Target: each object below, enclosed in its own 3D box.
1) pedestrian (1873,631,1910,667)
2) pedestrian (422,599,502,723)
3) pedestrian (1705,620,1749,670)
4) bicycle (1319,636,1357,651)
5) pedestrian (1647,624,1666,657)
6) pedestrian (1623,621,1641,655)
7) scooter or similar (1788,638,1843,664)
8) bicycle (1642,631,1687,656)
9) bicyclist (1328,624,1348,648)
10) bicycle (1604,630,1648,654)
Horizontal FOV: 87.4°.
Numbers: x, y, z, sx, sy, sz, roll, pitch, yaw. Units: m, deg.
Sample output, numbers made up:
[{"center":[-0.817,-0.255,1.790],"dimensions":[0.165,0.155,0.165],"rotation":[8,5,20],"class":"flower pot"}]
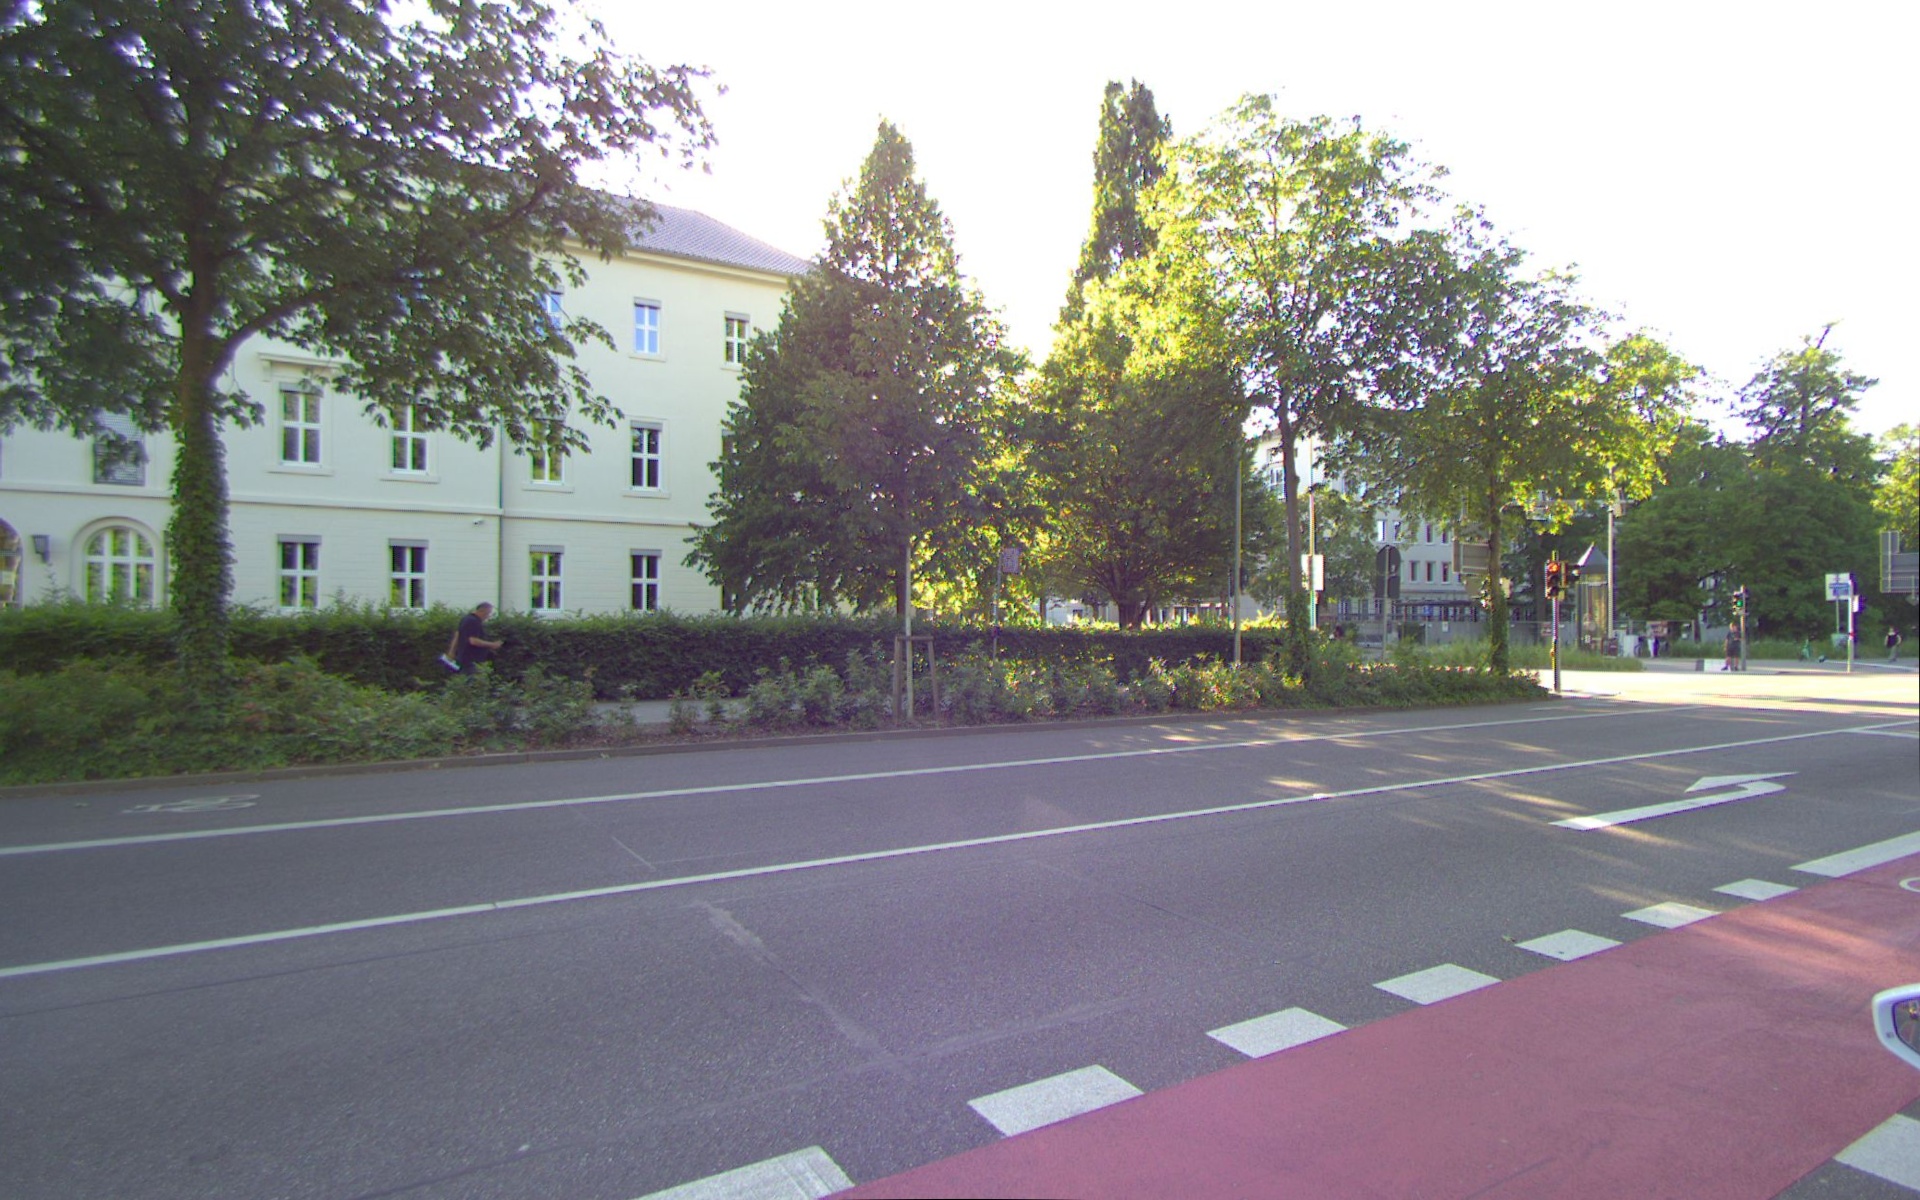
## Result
[{"center":[42.786,2.244,46.147],"dimensions":[0.992,1.624,1.080],"rotation":[1,-2,-36],"class":"pedestrian"},{"center":[-7.353,0.883,14.836],"dimensions":[0.958,1.743,0.829],"rotation":[1,-2,-34],"class":"pedestrian"},{"center":[31.848,1.848,41.706],"dimensions":[1.175,2.040,0.992],"rotation":[1,0,-25],"class":"pedestrian"},{"center":[25.627,2.939,68.169],"dimensions":[0.574,1.002,2.695],"rotation":[1,-2,-28],"class":"bicycle"},{"center":[34.578,2.000,49.868],"dimensions":[0.442,1.601,0.624],"rotation":[1,0,-39],"class":"pedestrian"},{"center":[34.227,1.926,51.150],"dimensions":[0.442,1.664,0.624],"rotation":[1,0,-39],"class":"pedestrian"},{"center":[39.607,2.344,46.514],"dimensions":[1.882,1.139,0.713],"rotation":[1,0,3],"class":"scooter or similar"},{"center":[34.987,2.154,49.895],"dimensions":[0.288,1.163,1.849],"rotation":[1,-1,-36],"class":"bicycle"},{"center":[25.642,2.435,68.154],"dimensions":[0.867,1.627,0.970],"rotation":[1,-2,-29],"class":"bicyclist"},{"center":[34.298,2.153,51.715],"dimensions":[0.438,1.163,1.849],"rotation":[1,-1,-36],"class":"bicycle"}]
